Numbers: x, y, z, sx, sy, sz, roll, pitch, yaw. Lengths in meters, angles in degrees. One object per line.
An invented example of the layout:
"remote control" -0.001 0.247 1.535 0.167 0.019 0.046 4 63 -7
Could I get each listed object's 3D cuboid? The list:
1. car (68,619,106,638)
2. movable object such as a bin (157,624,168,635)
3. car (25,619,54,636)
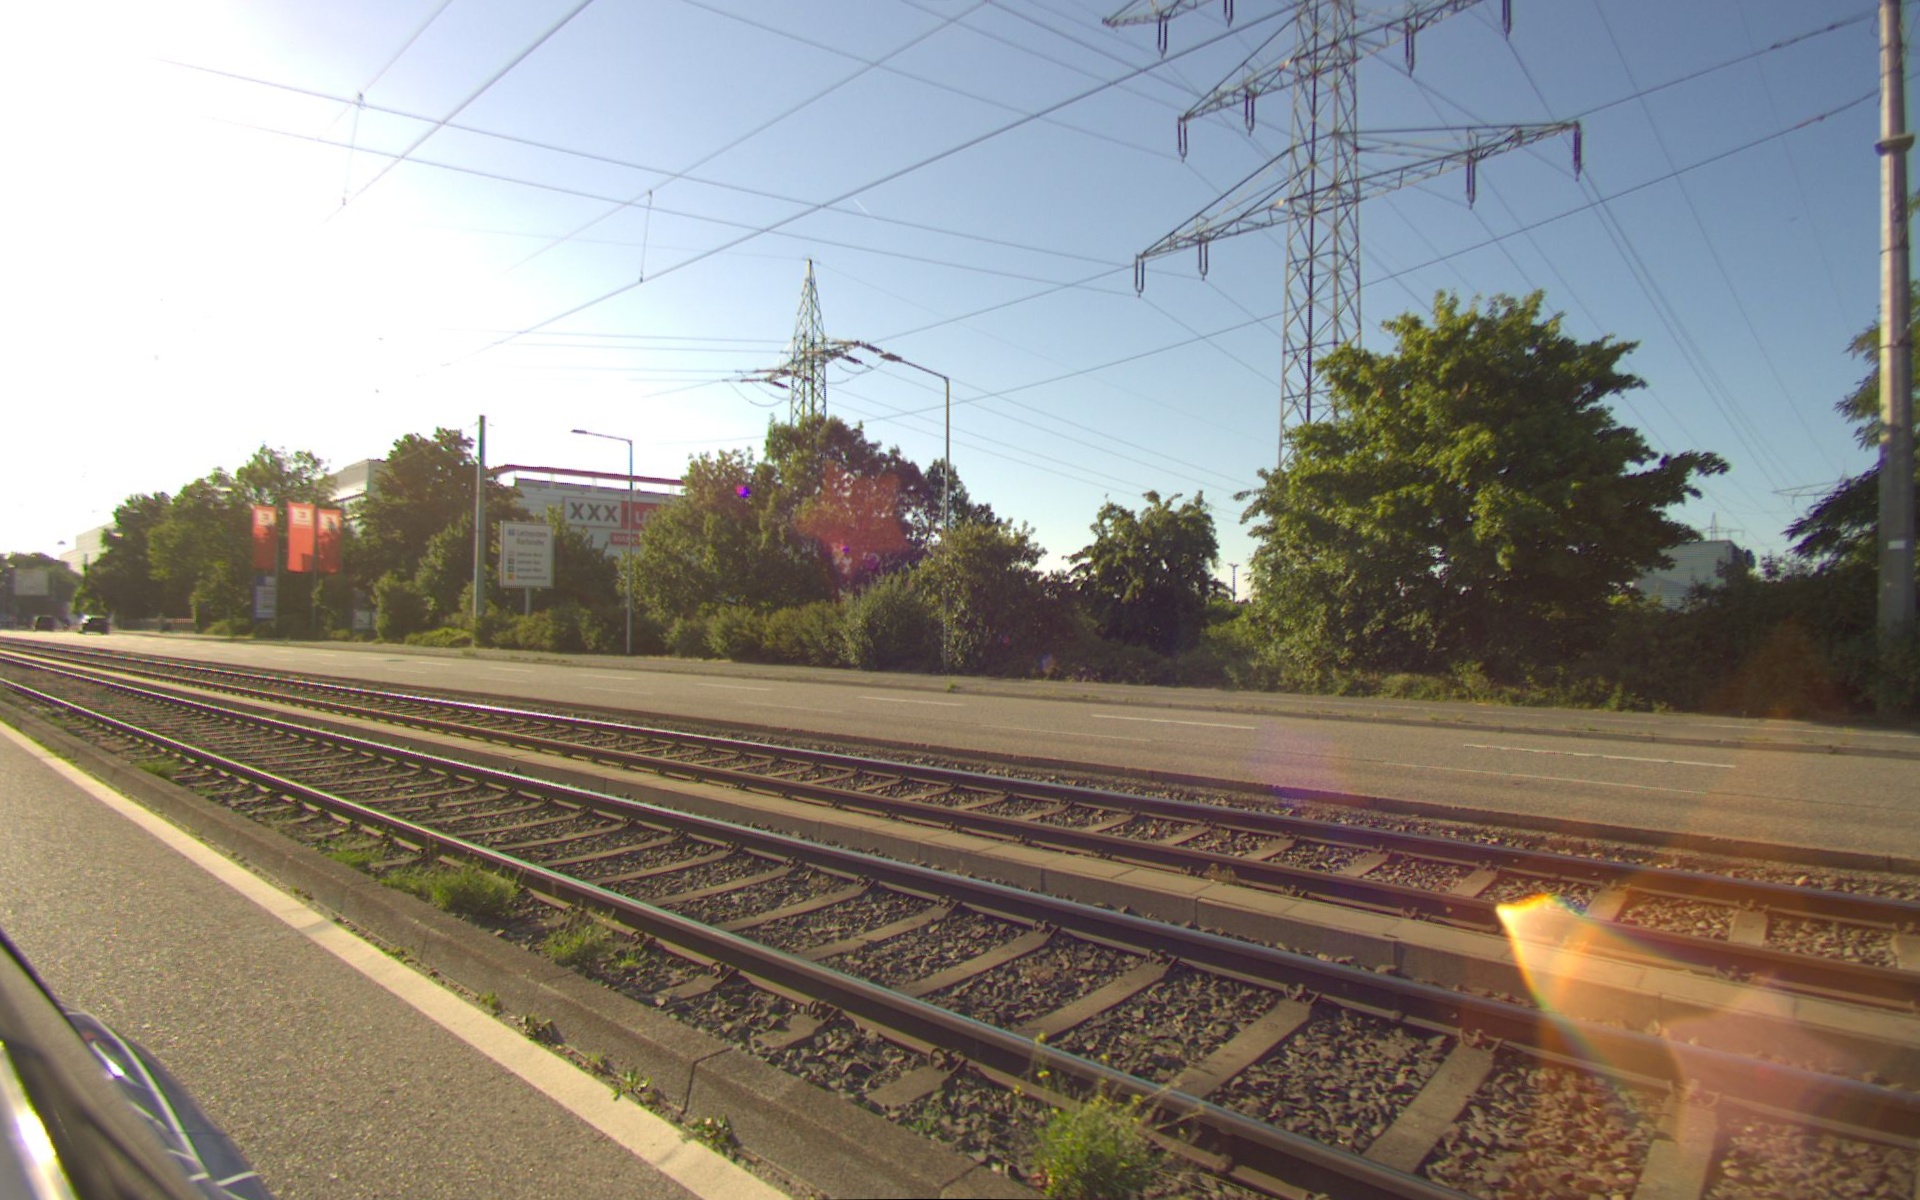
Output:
"car" -78.945 2.570 91.495 4.681 1.637 1.972 0 -2 41
"movable object such as a bin" -71.058 2.603 90.177 1.083 0.973 0.606 0 0 42
"car" -105.226 3.166 115.724 4.349 1.809 1.972 0 -2 42
